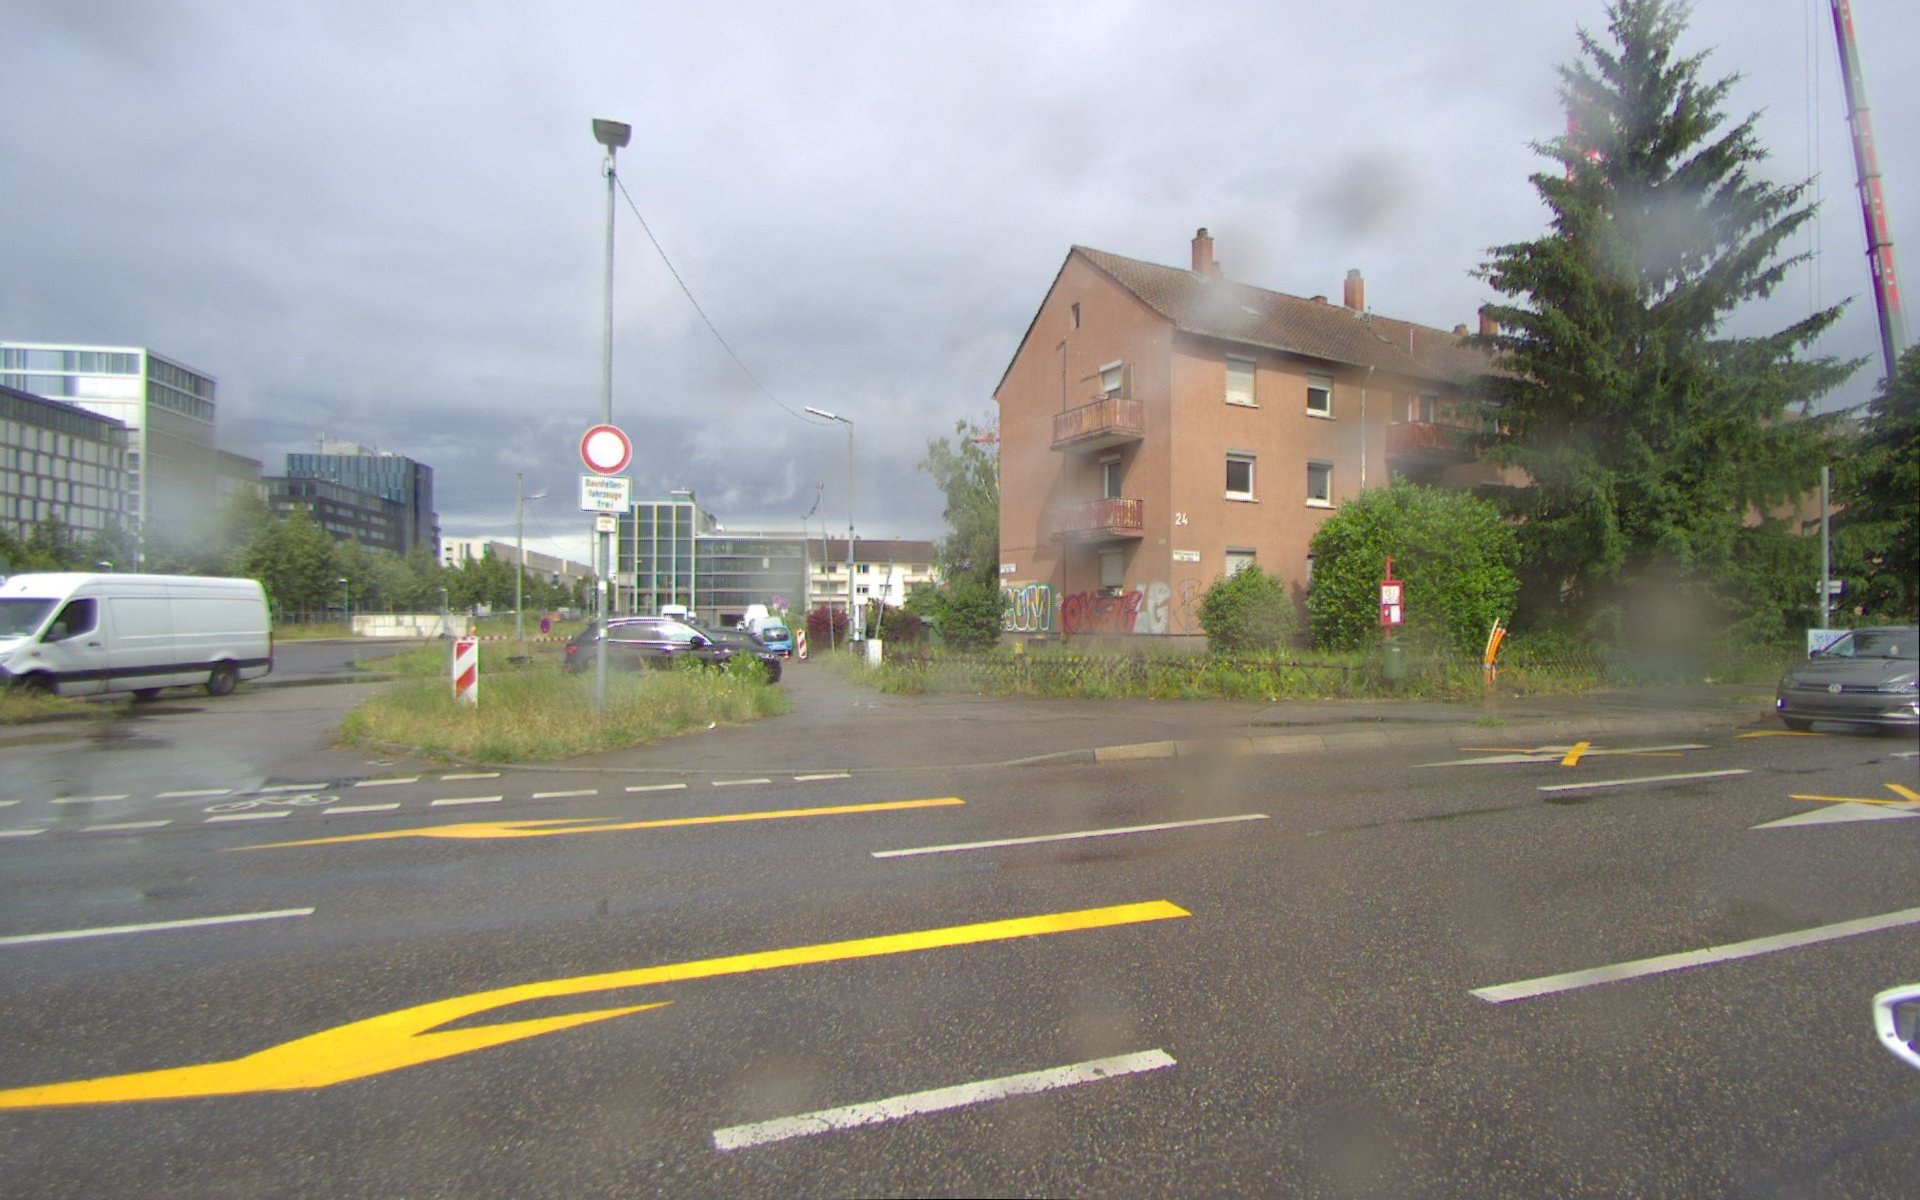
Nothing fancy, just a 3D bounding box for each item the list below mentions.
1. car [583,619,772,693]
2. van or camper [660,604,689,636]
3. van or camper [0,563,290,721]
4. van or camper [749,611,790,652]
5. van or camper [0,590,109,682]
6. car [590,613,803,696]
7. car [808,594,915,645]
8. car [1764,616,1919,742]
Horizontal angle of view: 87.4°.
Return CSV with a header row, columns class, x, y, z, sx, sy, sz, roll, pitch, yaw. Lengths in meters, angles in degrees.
class,x,y,z,sx,sy,sz,roll,pitch,yaw
car,-6.710,1.280,23.966,4.191,1.639,1.753,0,0,-18
van or camper,-21.594,1.512,76.074,1.967,2.341,4.870,0,-1,-15
van or camper,-17.407,0.771,20.565,2.461,2.682,6.985,0,-1,2
van or camper,-11.352,1.815,59.571,1.966,2.304,5.901,1,-1,-14
van or camper,-24.281,0.863,23.923,2.391,2.217,6.401,0,-1,2
car,-5.615,1.113,21.522,4.258,1.639,1.753,0,0,-18
car,-3.999,0.776,41.335,4.238,2.045,1.716,0,0,-2
car,12.952,0.980,13.711,3.743,1.528,1.674,0,-1,-26
